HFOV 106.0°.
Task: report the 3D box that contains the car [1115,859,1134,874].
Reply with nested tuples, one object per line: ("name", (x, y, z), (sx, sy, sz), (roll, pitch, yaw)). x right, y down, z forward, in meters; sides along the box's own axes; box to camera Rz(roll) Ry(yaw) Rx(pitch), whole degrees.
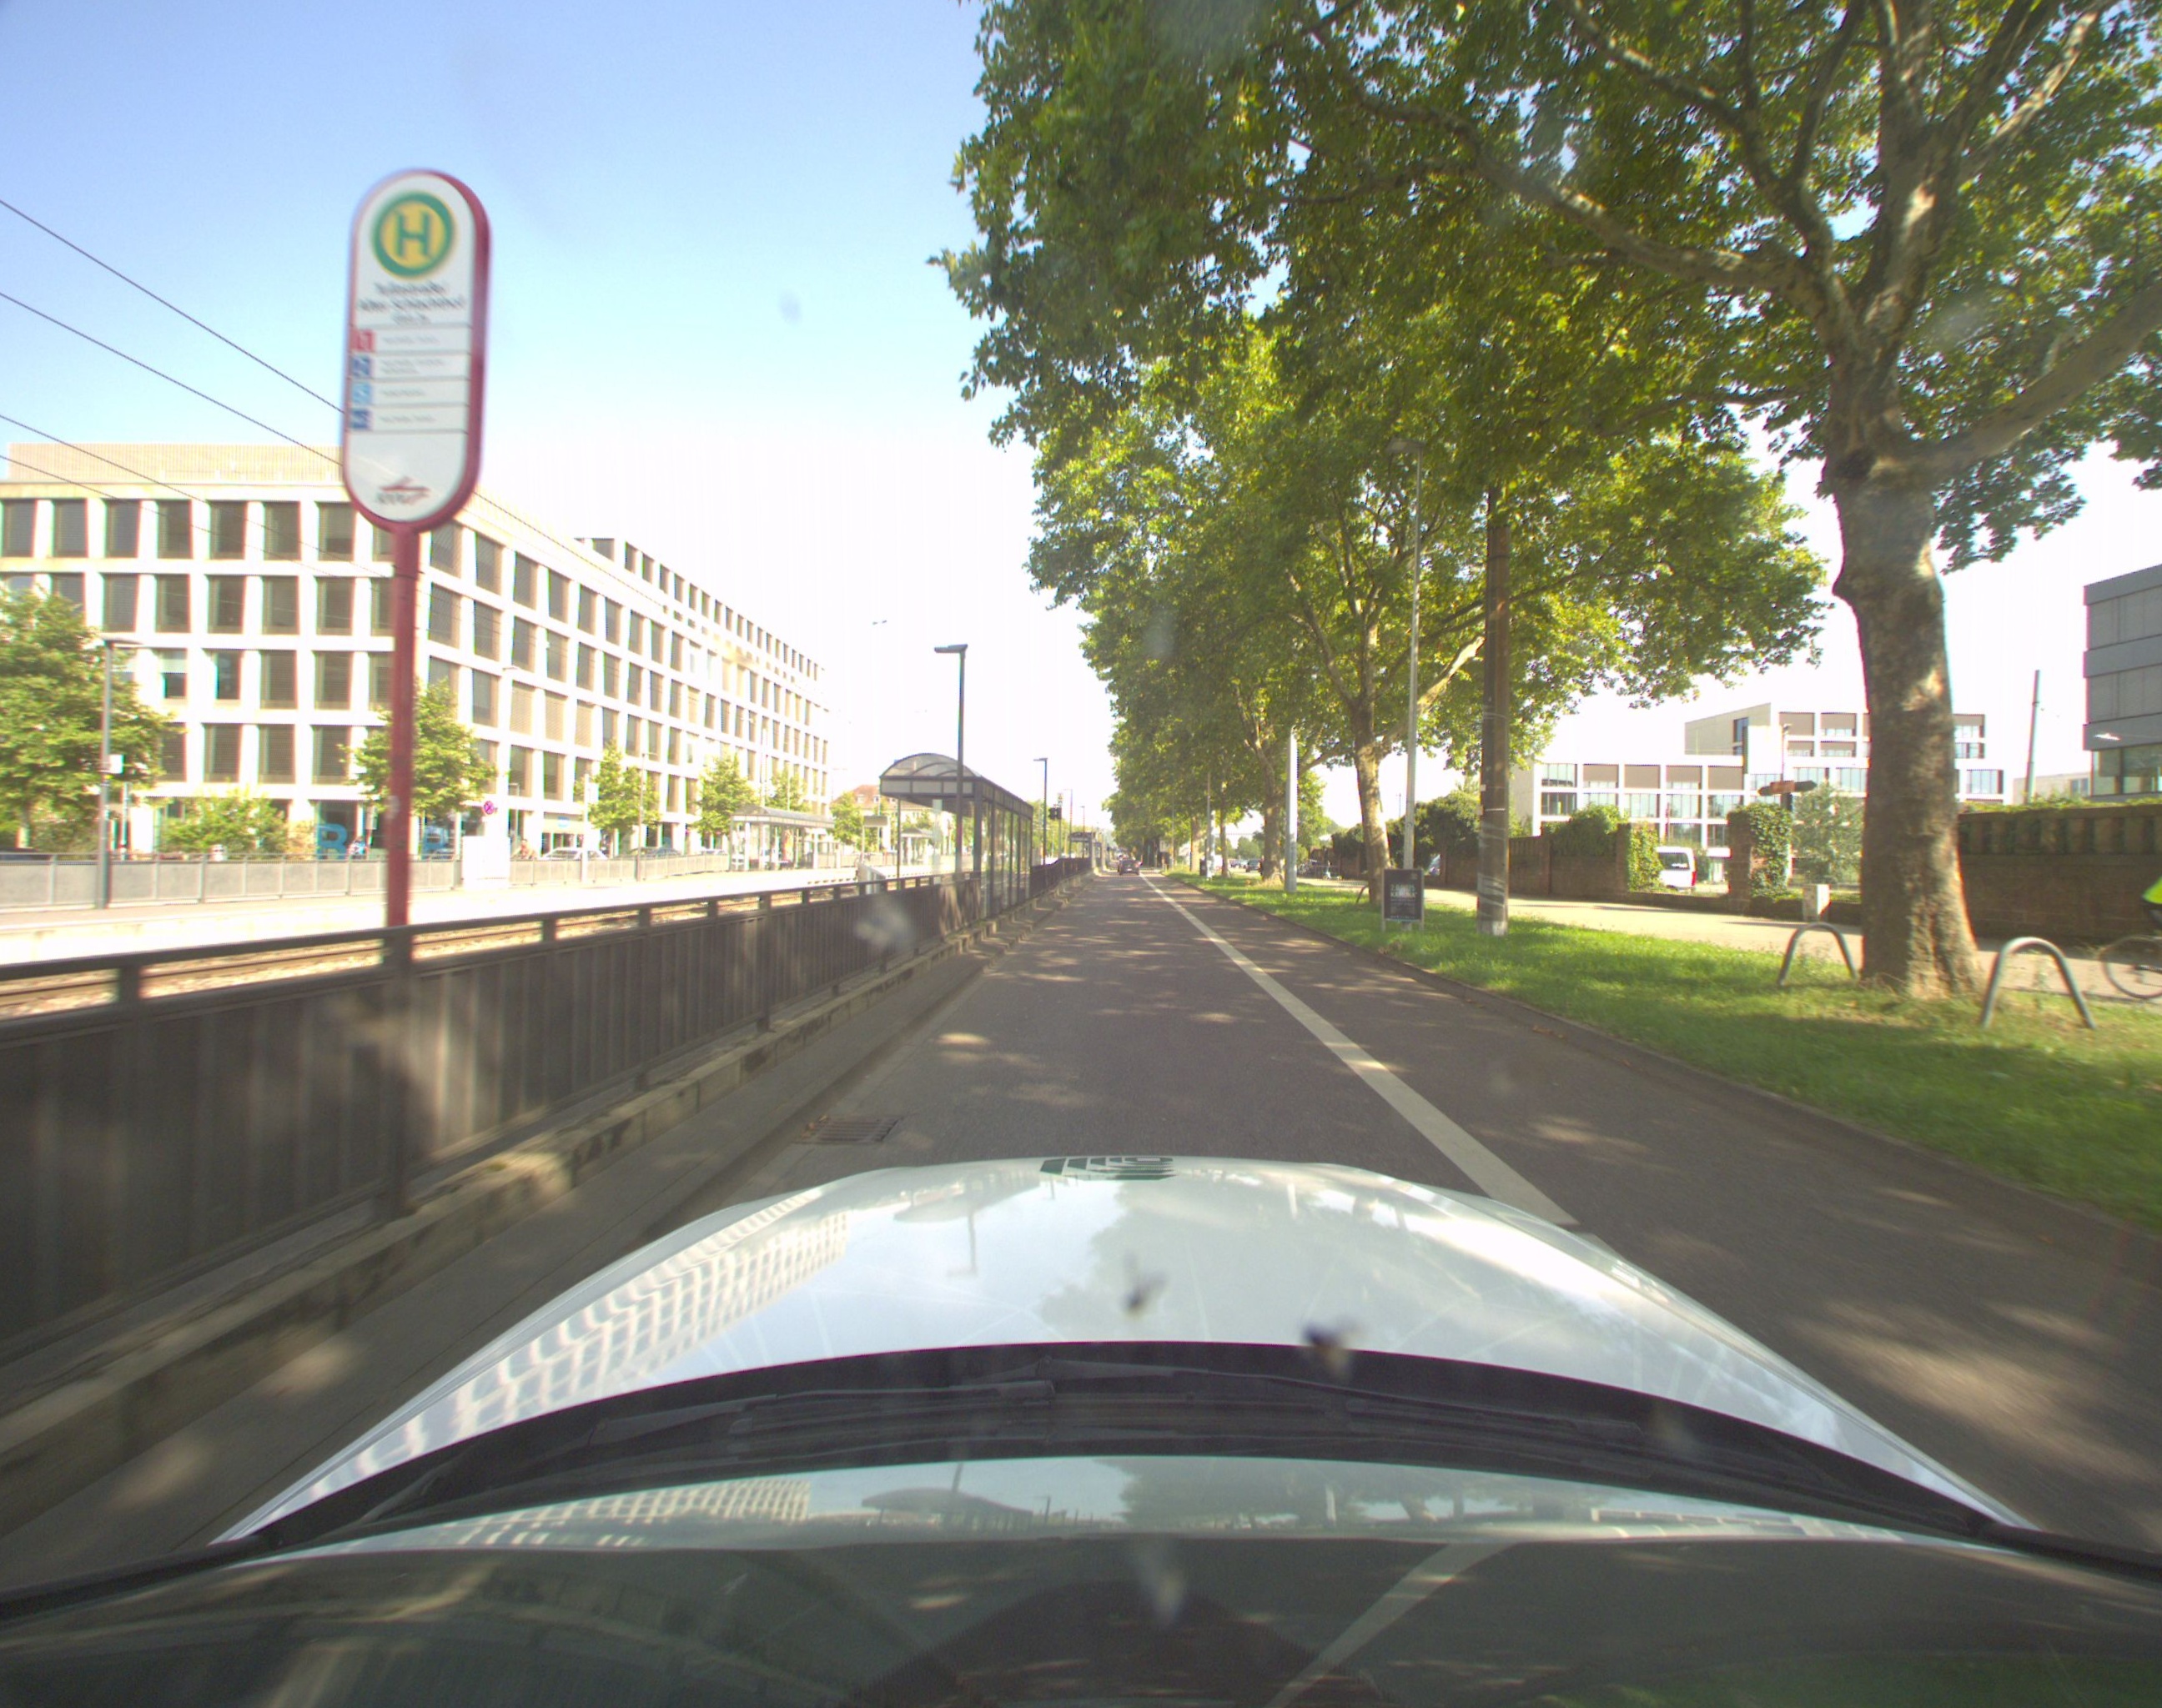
("car", (4.783, 1.340, 90.826), (1.966, 1.537, 4.002), (-3, 0, 2))

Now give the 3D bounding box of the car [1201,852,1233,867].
("car", (18.404, 0.783, 110.347), (4.083, 1.918, 1.850), (-1, 0, 5))

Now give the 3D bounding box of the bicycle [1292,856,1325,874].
("bicycle", (17.437, 0.850, 62.359), (2.235, 1.277, 0.999), (-1, -2, 2))

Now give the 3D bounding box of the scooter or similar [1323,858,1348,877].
("scooter or similar", (16.722, 0.890, 53.543), (1.498, 1.191, 0.539), (-1, -1, 6))

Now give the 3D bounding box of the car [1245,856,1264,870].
("car", (20.877, 1.082, 98.097), (1.601, 1.575, 3.799), (0, 0, 3))

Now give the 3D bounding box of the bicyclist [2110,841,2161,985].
("bicyclist", (11.226, 0.599, 8.254), (0.546, 1.453, 0.842), (0, 0, 3))

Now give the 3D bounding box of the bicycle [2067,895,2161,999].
("bicycle", (11.213, 0.965, 8.202), (0.546, 1.007, 1.715), (0, 0, 3))

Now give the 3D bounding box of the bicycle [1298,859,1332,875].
("bicycle", (16.624, 0.941, 57.858), (2.166, 1.076, 0.743), (1, -1, 1))

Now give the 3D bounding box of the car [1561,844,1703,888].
("car", (22.362, 0.492, 33.168), (4.506, 1.734, 1.910), (0, 0, 0))

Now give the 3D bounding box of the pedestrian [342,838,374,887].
("pedestrian", (-30.605, 0.374, 34.476), (0.560, 2.014, 0.823), (-2, -2, 2))

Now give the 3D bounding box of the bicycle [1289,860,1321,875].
("bicycle", (16.541, 1.005, 60.074), (2.162, 1.076, 0.744), (-2, -1, 6))

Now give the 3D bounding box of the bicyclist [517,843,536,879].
("bicyclist", (-21.278, 0.280, 31.245), (0.385, 1.361, 0.447), (1, 0, 2))

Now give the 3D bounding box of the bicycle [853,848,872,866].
("bicycle", (-14.489, 0.216, 54.081), (0.467, 1.147, 1.490), (1, -1, 17))

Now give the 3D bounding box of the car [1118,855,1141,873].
("car", (4.255, 0.888, 71.605), (1.900, 1.537, 4.002), (-1, 0, 2))

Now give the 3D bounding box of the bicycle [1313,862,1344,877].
("bicycle", (16.580, 1.018, 54.603), (1.860, 1.006, 0.735), (1, -1, 1))

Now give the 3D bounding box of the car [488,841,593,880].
("car", (-23.496, 0.280, 35.609), (1.757, 1.574, 4.133), (0, 0, 1))

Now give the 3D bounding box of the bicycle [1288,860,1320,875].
("bicycle", (16.674, 0.993, 60.880), (2.162, 1.076, 0.744), (-2, -1, 6))

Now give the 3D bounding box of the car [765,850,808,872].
("car", (-22.983, 0.545, 63.700), (1.757, 1.603, 4.133), (0, 0, 1))

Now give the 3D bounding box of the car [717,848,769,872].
("car", (-22.916, 0.412, 55.383), (1.757, 1.603, 4.133), (0, 0, 1))

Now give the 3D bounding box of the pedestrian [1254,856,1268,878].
("pedestrian", (12.590, 0.903, 56.953), (0.780, 1.515, 0.787), (0, 0, 2))

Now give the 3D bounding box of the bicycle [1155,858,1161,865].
("bicycle", (11.944, 1.211, 126.103), (0.608, 1.022, 2.401), (0, 0, -1))
